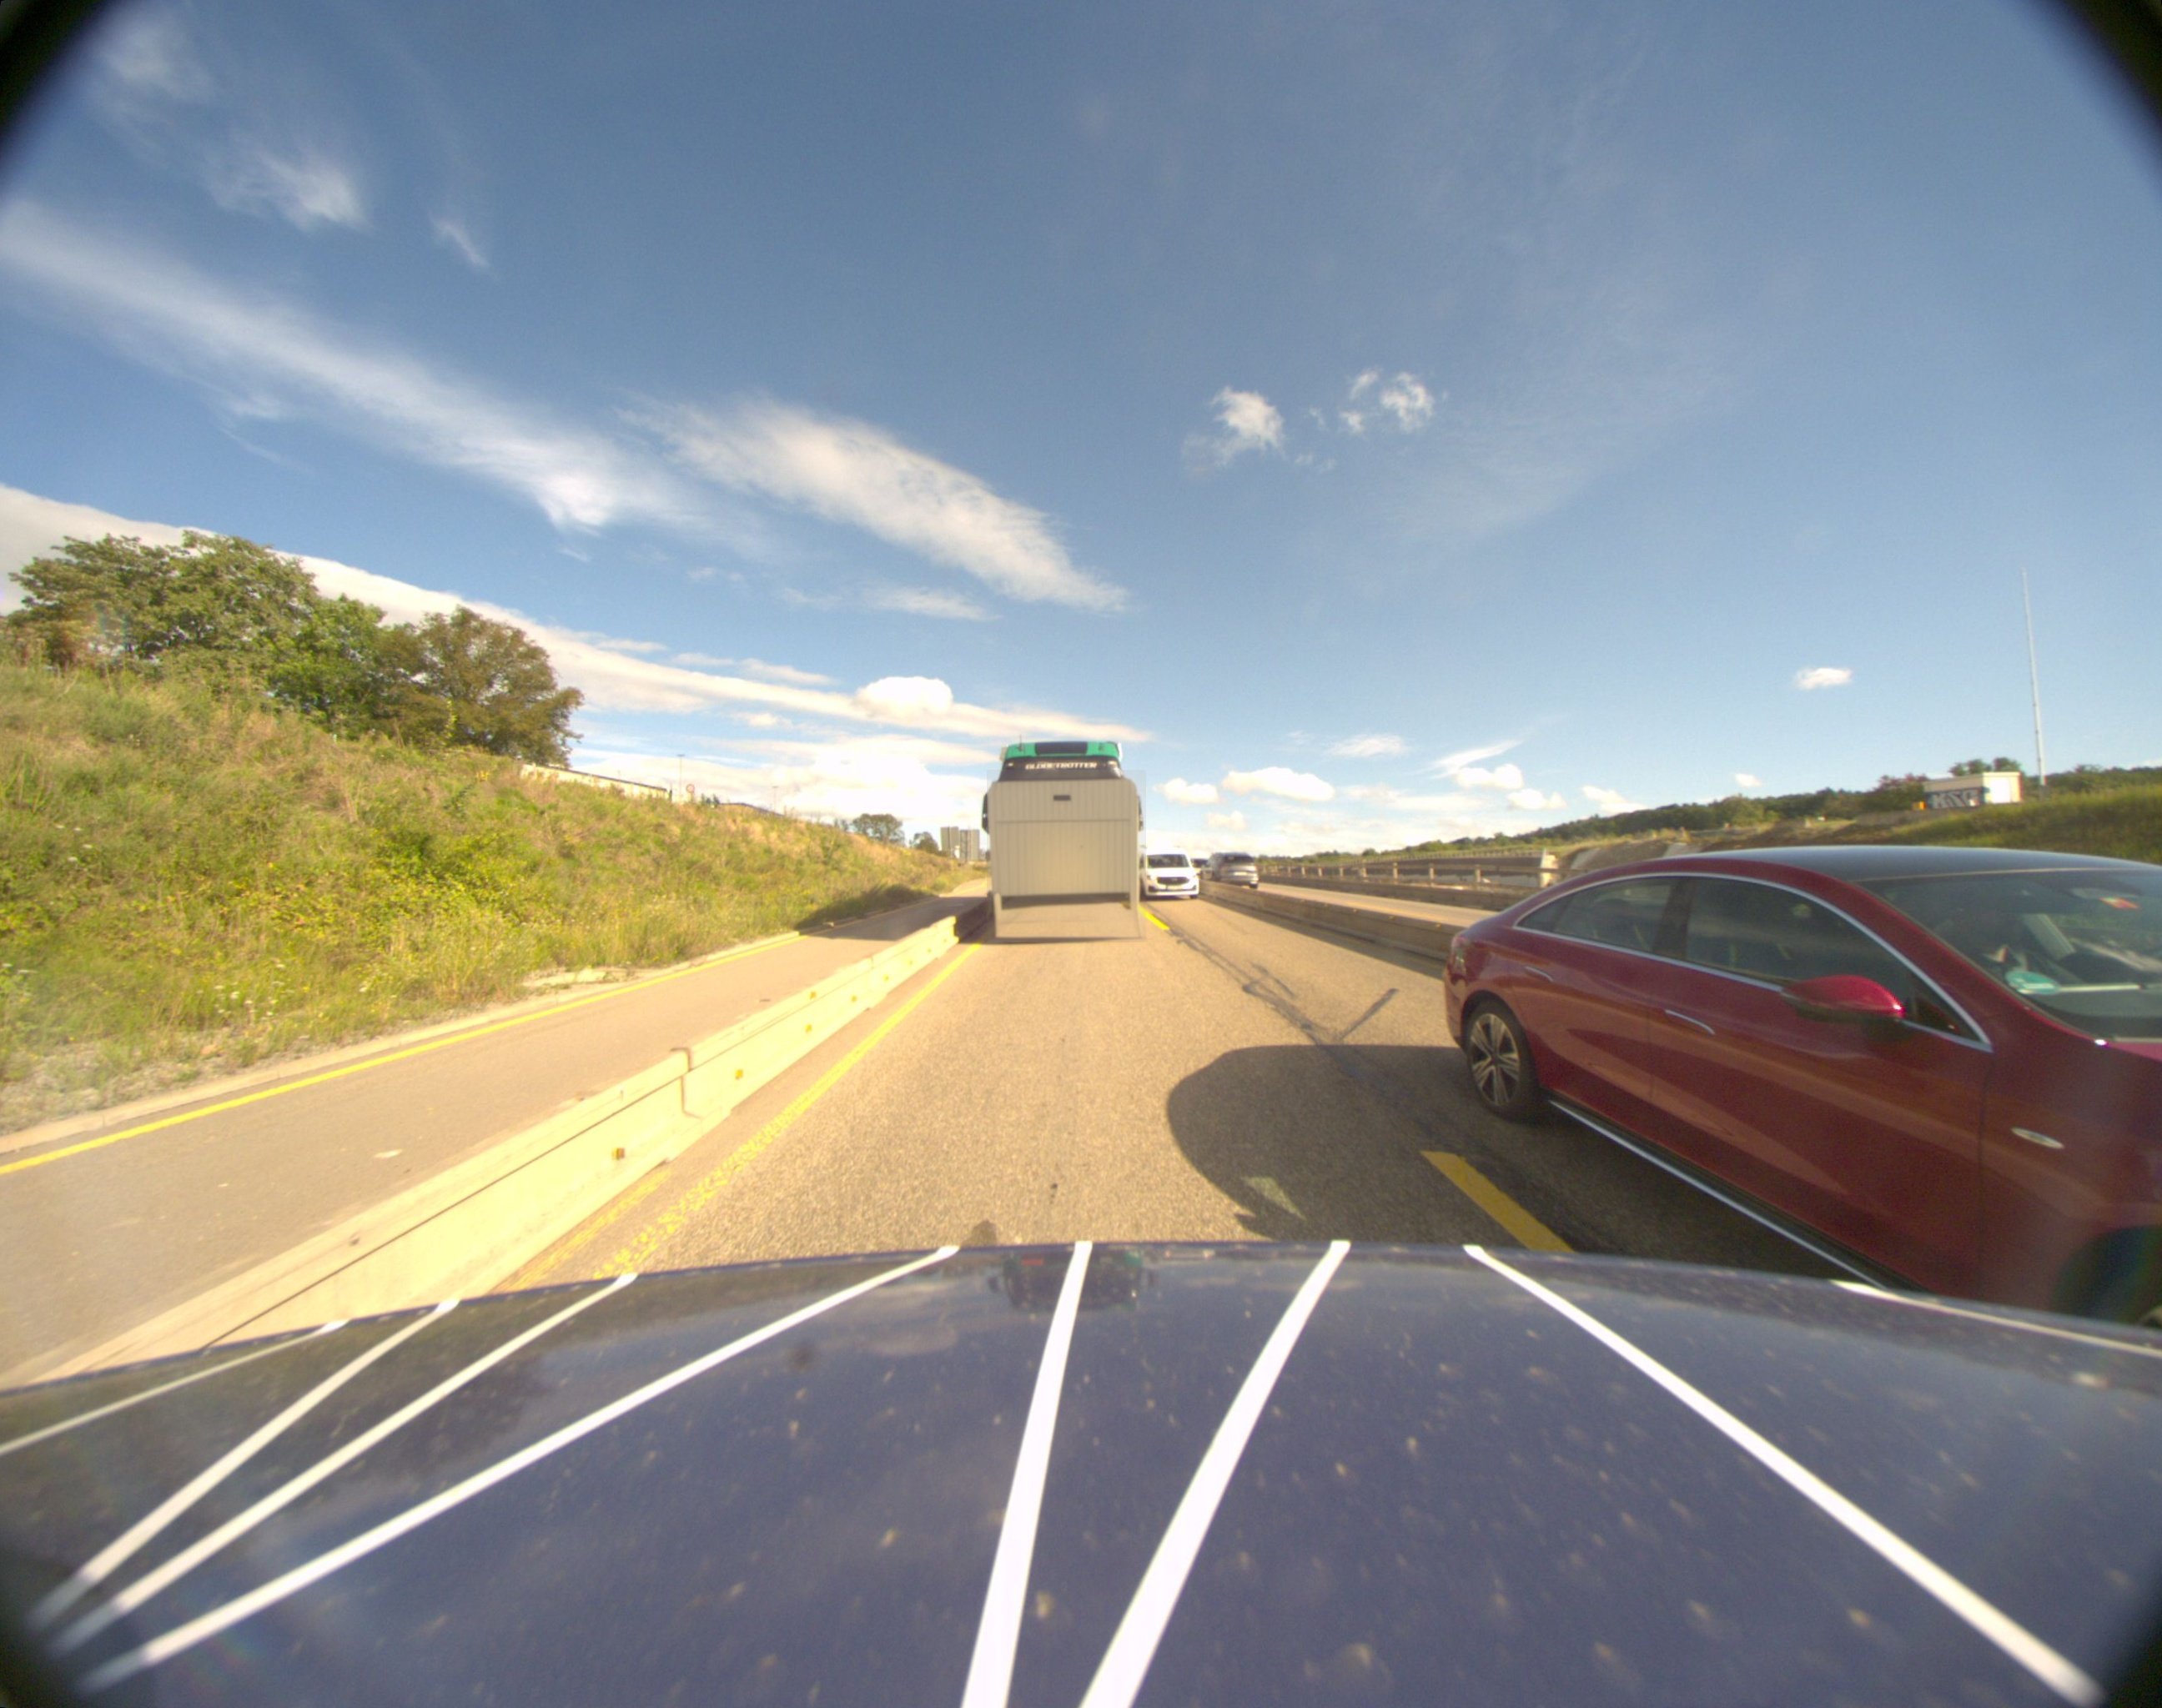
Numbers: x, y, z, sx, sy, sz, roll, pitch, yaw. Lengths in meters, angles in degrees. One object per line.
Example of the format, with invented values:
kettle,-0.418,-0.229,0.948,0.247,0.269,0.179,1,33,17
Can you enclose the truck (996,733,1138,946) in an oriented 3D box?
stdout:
truck,-0.341,-0.284,18.283,2.546,3.899,8.278,-1,0,-1

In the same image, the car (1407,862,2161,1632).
car,3.116,0.834,2.678,1.828,1.483,4.684,-3,0,0

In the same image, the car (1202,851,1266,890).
car,6.545,0.668,32.917,1.828,1.554,4.217,1,0,-1

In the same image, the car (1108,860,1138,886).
car,2.710,1.183,49.354,1.719,1.499,4.000,-2,0,1

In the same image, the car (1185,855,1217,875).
car,9.508,0.831,60.647,1.828,1.483,4.217,1,0,-1

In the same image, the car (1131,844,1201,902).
car,2.933,0.627,27.002,1.828,1.813,4.455,-3,0,-1
